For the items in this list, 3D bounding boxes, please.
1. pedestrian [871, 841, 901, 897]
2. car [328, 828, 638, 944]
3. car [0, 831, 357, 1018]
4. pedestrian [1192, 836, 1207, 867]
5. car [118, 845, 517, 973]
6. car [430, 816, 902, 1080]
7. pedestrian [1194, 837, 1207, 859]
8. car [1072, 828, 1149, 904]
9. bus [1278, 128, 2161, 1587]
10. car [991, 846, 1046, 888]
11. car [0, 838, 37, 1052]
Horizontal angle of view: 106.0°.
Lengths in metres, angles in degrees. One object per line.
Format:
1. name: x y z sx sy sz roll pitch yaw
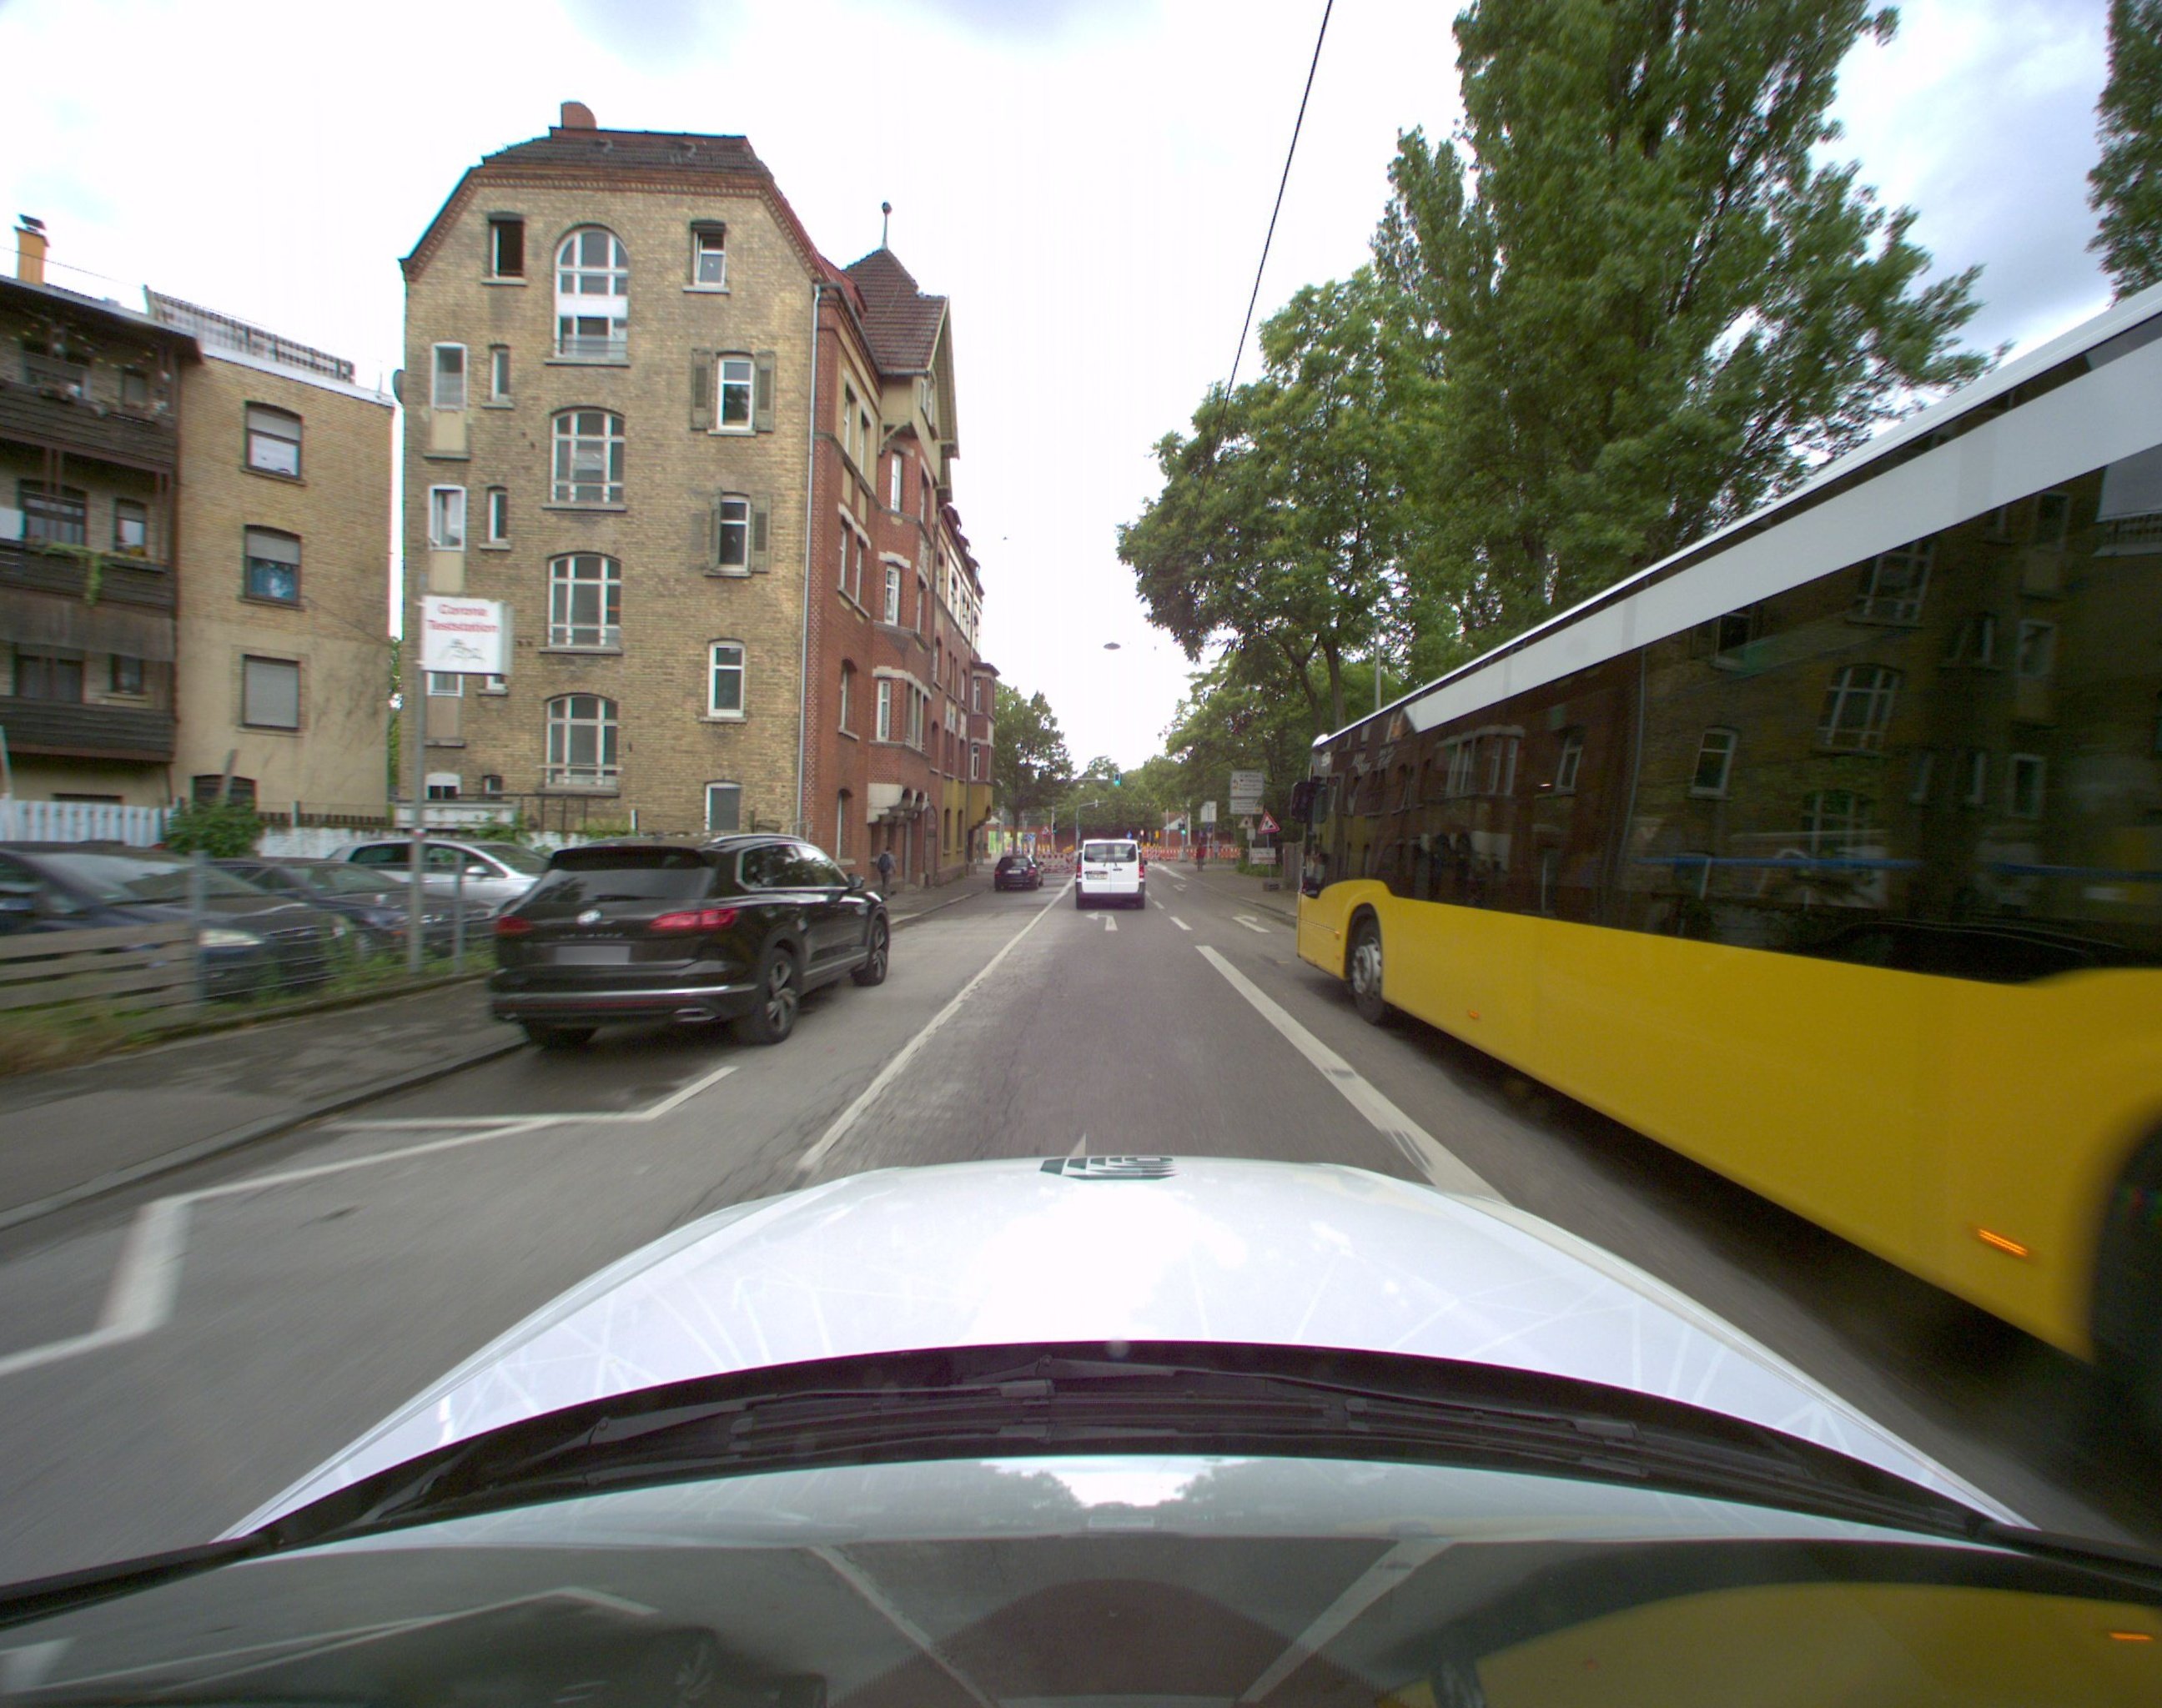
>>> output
1. pedestrian: -5.801 0.429 24.272 0.657 1.609 0.633 2 1 2
2. car: -9.224 0.468 12.775 3.582 1.612 1.689 -1 0 1
3. car: -9.397 0.599 7.604 3.582 1.504 1.854 -1 0 1
4. pedestrian: 7.272 -0.163 49.905 0.776 1.831 0.728 -3 1 2
5. car: -9.485 0.642 10.309 3.582 1.414 1.547 -1 0 1
6. car: -3.280 0.586 7.786 1.947 1.733 4.776 0 1 1
7. pedestrian: 9.510 -0.496 64.783 0.730 1.697 0.836 -2 1 -7
8. car: 0.797 0.366 23.435 1.911 1.902 4.701 3 -1 1
9. bus: 3.800 -0.014 6.008 2.661 3.138 9.222 2 0 2
10. car: -2.566 0.497 34.279 1.718 1.485 4.394 1 2 3
11. car: -9.478 0.683 5.020 3.709 1.504 1.854 -1 0 1
